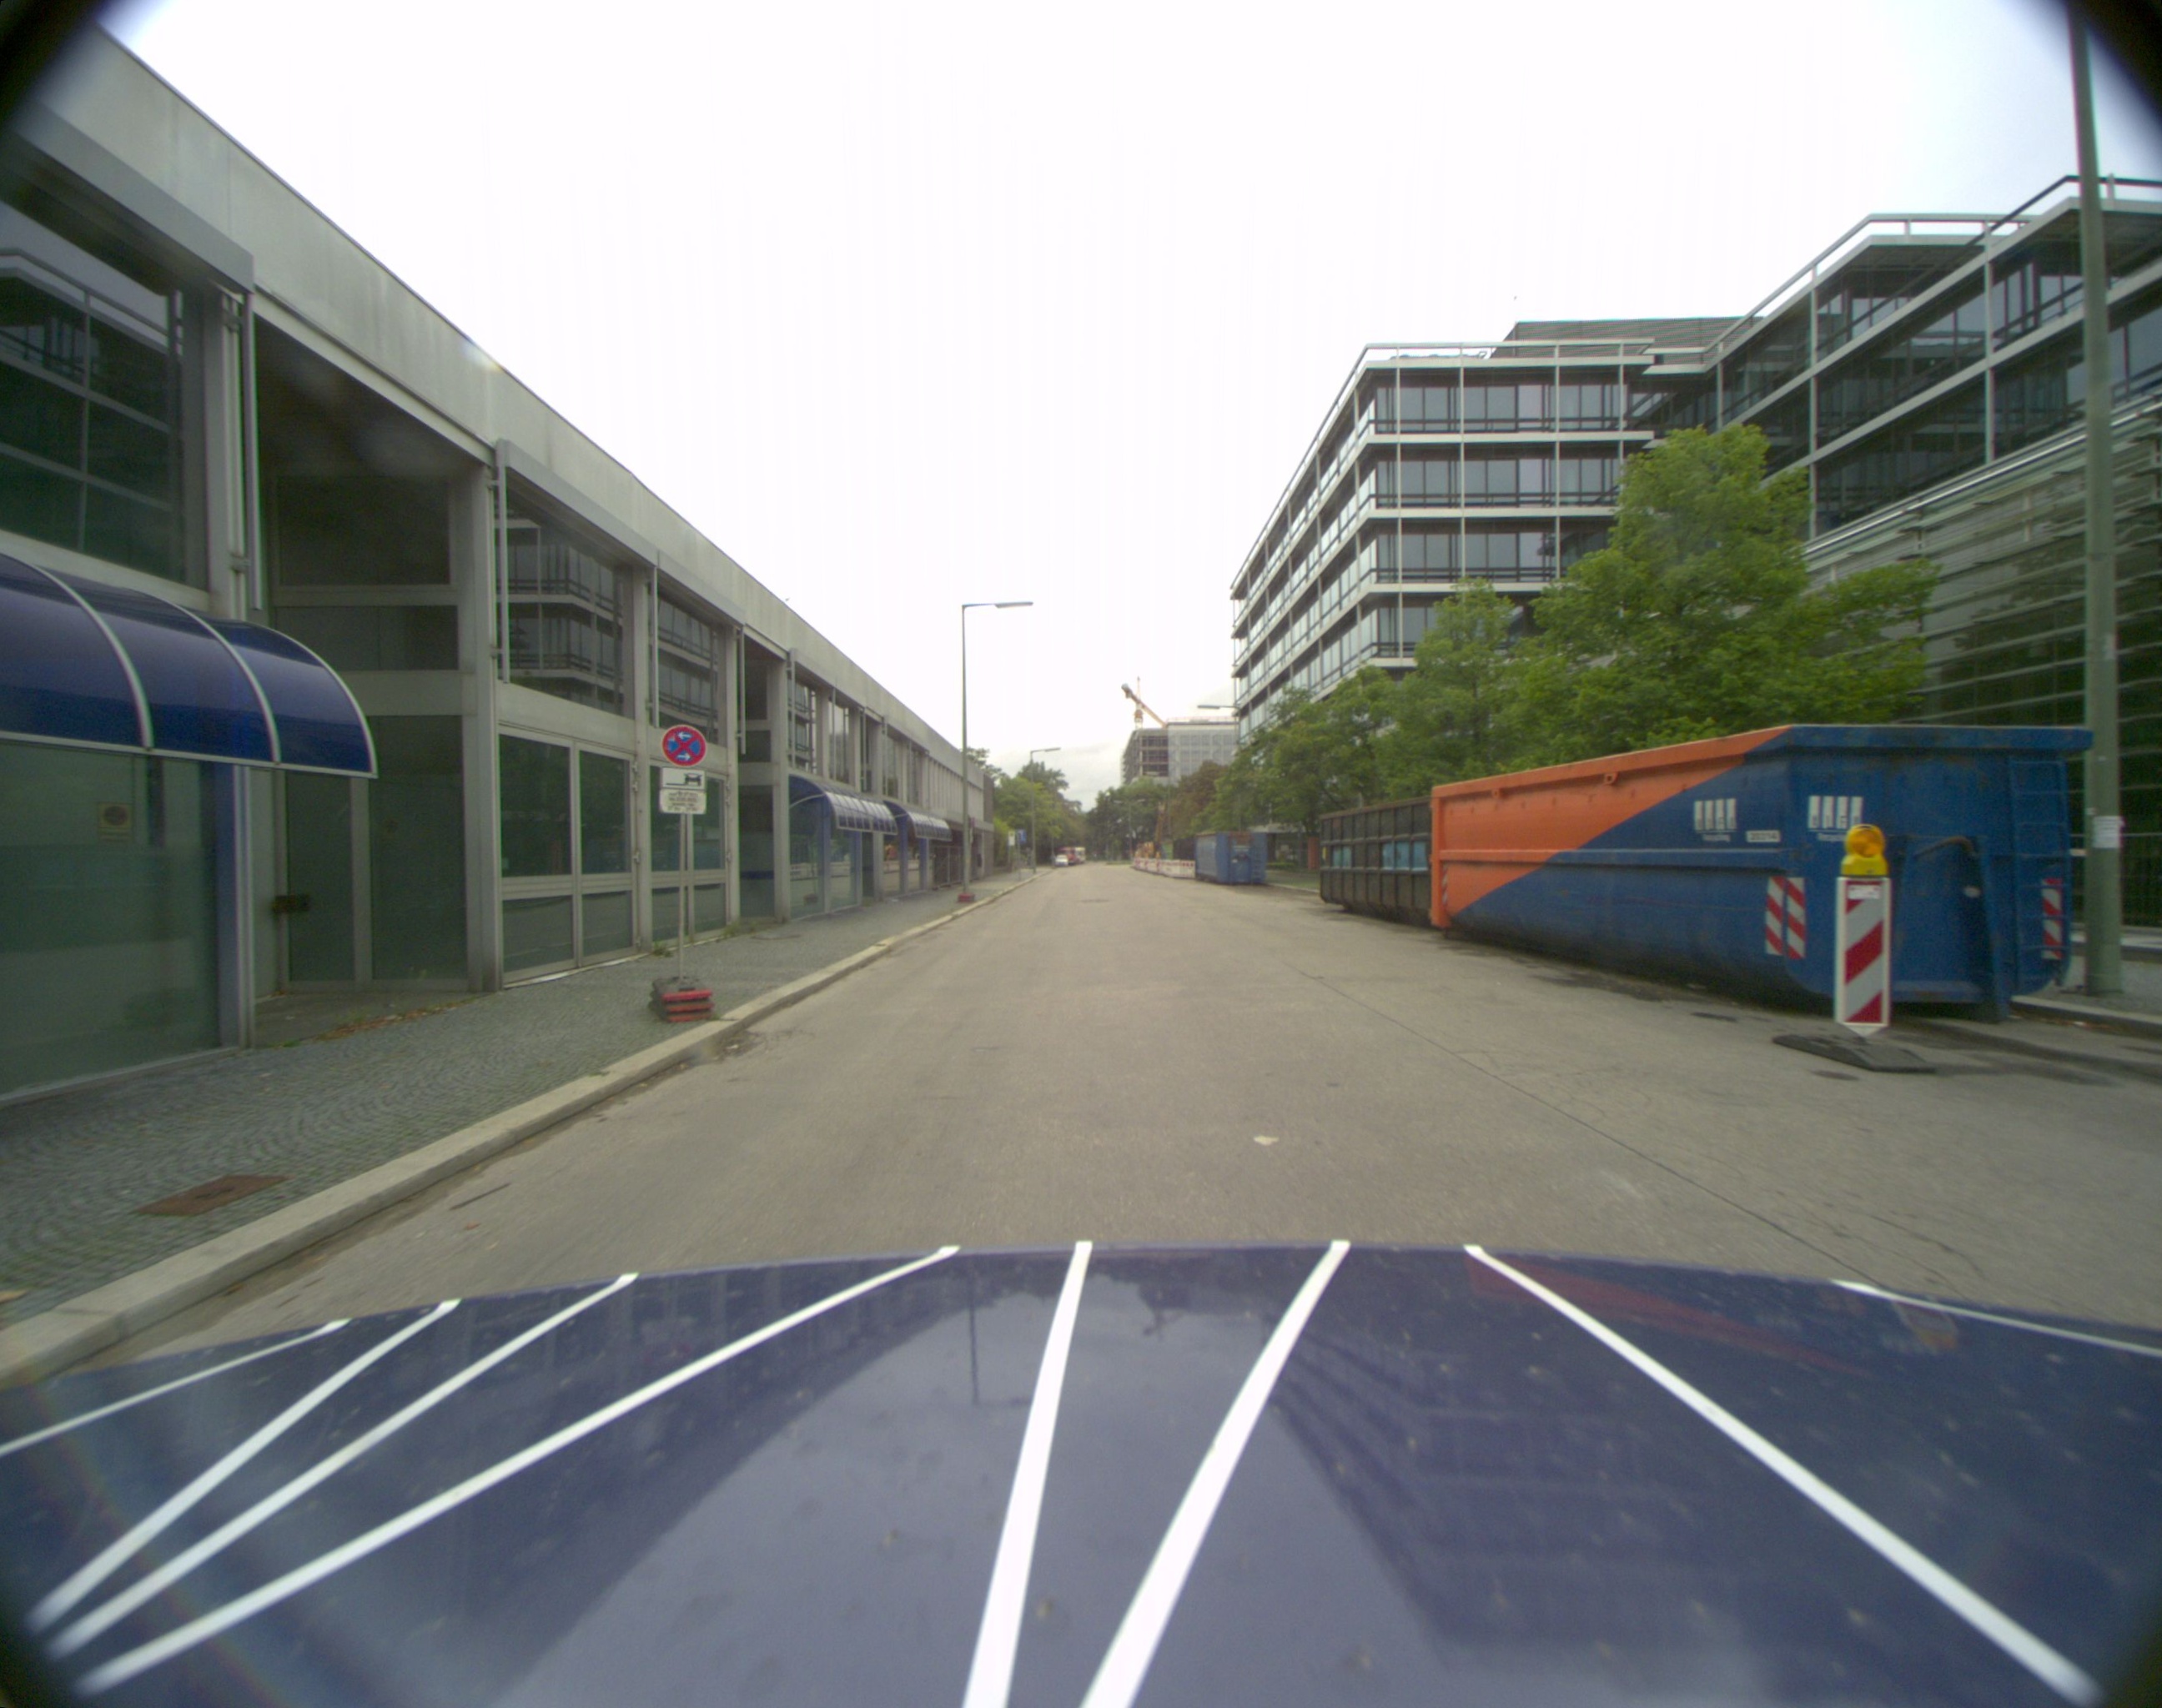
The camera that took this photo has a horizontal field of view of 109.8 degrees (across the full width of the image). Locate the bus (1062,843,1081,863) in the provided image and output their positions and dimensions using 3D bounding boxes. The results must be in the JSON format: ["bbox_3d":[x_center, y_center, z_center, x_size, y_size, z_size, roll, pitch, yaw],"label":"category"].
[{"bbox_3d":[-1.289,-0.160,105.863,2.077,2.789,6.274,0,0,5],"label":"bus"}]

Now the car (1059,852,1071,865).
[{"bbox_3d":[-2.086,0.581,98.633,1.536,1.483,4.059,0,1,-2],"label":"car"}]

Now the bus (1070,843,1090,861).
[{"bbox_3d":[-0.107,-0.291,119.767,2.076,2.714,5.871,0,0,10],"label":"bus"}]

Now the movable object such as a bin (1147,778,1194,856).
[{"bbox_3d":[7.996,-3.157,69.403,2.911,6.526,11.782,-1,1,0],"label":"movable object such as a bin"}]
